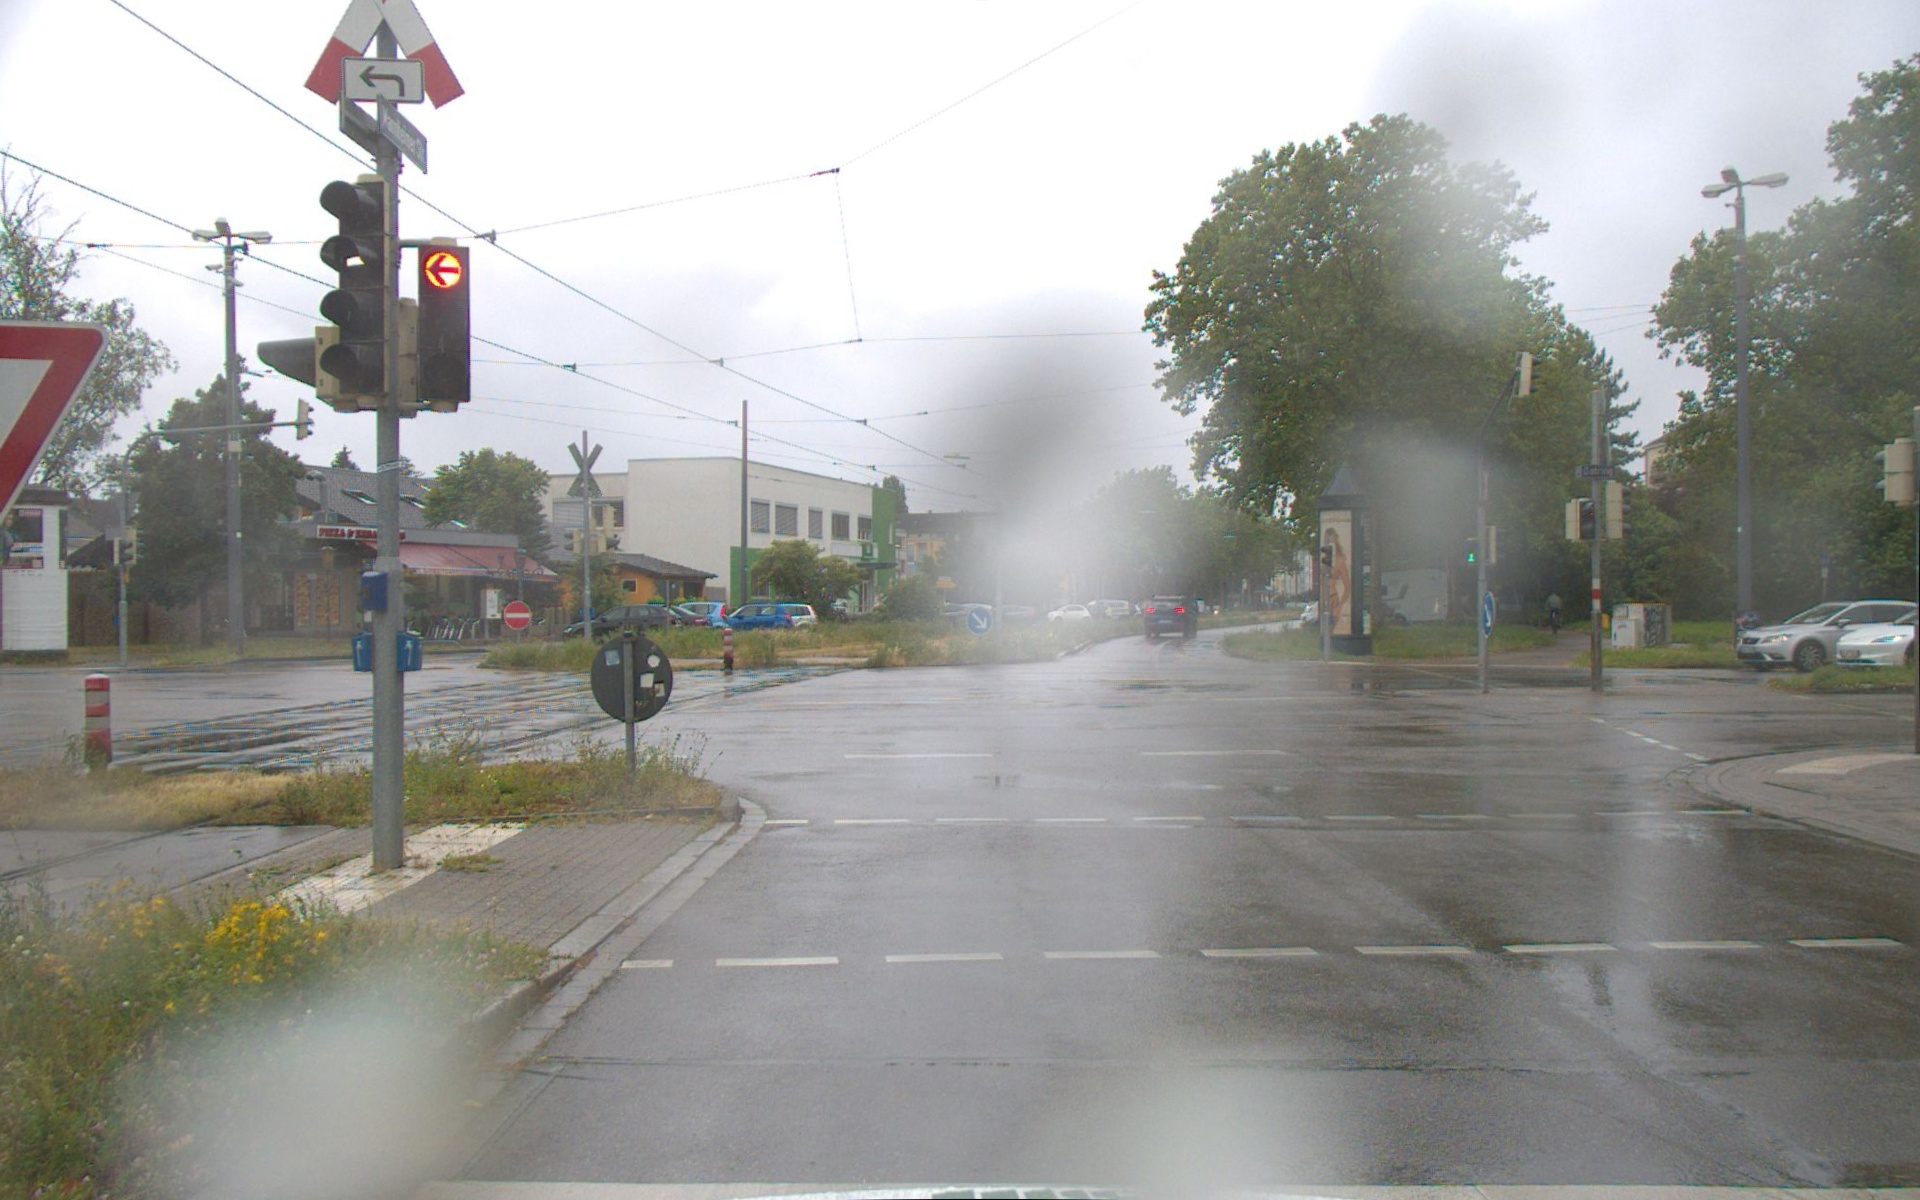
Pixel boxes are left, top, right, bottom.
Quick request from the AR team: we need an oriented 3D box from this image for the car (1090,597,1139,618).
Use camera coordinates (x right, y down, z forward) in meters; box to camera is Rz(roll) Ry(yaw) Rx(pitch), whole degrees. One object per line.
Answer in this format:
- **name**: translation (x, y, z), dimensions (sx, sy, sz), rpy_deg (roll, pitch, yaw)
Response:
- **car**: translation (13.531, 0.651, 145.085), dimensions (3.916, 1.789, 2.004), rpy_deg (1, 0, -12)

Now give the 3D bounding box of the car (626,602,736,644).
- **car**: translation (-10.882, 0.895, 64.612), dimensions (3.903, 1.609, 1.859), rpy_deg (0, 0, 4)

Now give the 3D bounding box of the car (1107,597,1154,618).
- **car**: translation (15.889, 0.692, 154.084), dimensions (3.916, 1.864, 1.994), rpy_deg (1, 0, -12)

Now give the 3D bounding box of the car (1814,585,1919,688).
- **car**: translation (18.876, 0.704, 31.310), dimensions (4.506, 1.860, 1.931), rpy_deg (1, 0, -7)

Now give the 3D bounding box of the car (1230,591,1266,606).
- **car**: translation (35.506, -0.194, 203.966), dimensions (3.909, 1.864, 1.998), rpy_deg (1, 0, -5)

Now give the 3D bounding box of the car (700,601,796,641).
- **car**: translation (-8.938, 0.877, 69.640), dimensions (3.916, 1.609, 1.924), rpy_deg (0, 0, -12)

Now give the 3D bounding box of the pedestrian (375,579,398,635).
- **pedestrian**: translation (-20.922, 0.258, 60.340), dimensions (0.713, 2.049, 0.789), rpy_deg (1, -1, -23)

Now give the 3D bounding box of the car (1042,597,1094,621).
- **car**: translation (8.273, 0.688, 126.890), dimensions (3.706, 1.732, 1.832), rpy_deg (1, 0, -11)

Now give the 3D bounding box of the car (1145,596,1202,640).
- **car**: translation (8.753, 0.717, 67.659), dimensions (1.768, 1.716, 3.914), rpy_deg (1, 0, 16)

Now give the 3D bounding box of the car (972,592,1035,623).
- **car**: translation (2.880, 0.501, 109.972), dimensions (3.911, 1.920, 1.997), rpy_deg (1, 0, -7)

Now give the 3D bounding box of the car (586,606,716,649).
- **car**: translation (-11.390, 1.017, 61.161), dimensions (4.405, 1.443, 1.858), rpy_deg (-2, 0, 0)

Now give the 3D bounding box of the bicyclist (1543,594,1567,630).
- **bicyclist**: translation (24.836, 0.499, 69.060), dimensions (0.843, 1.450, 0.957), rpy_deg (1, 0, 15)

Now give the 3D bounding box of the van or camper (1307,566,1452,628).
- **van or camper**: translation (22.826, -0.166, 89.981), dimensions (7.274, 3.234, 3.262), rpy_deg (1, 0, 22)

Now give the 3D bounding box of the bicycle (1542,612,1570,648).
- **bicycle**: translation (24.718, 1.240, 68.650), dimensions (0.843, 1.450, 2.705), rpy_deg (1, 0, 15)

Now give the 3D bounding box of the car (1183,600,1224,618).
- **car**: translation (25.636, 0.945, 174.313), dimensions (3.909, 1.864, 1.998), rpy_deg (1, 0, -5)

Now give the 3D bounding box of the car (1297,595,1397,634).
- **car**: translation (18.210, 0.660, 77.859), dimensions (4.352, 1.747, 2.000), rpy_deg (1, 0, 21)

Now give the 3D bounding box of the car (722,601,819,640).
- **car**: translation (-8.355, 0.877, 72.779), dimensions (4.040, 1.670, 1.922), rpy_deg (0, 0, -15)

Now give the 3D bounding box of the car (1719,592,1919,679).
- **car**: translation (18.465, 0.732, 34.626), dimensions (4.309, 1.721, 1.931), rpy_deg (1, 0, -7)

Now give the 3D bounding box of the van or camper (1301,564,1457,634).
- **van or camper**: translation (20.512, -0.043, 80.845), dimensions (7.168, 3.234, 3.264), rpy_deg (1, 0, 17)

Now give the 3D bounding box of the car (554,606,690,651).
- **car**: translation (-11.976, 0.995, 58.798), dimensions (4.385, 1.443, 1.858), rpy_deg (-2, 0, 0)

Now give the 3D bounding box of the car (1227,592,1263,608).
- **car**: translation (34.299, -0.031, 199.213), dimensions (3.909, 1.864, 1.998), rpy_deg (1, 0, -5)
